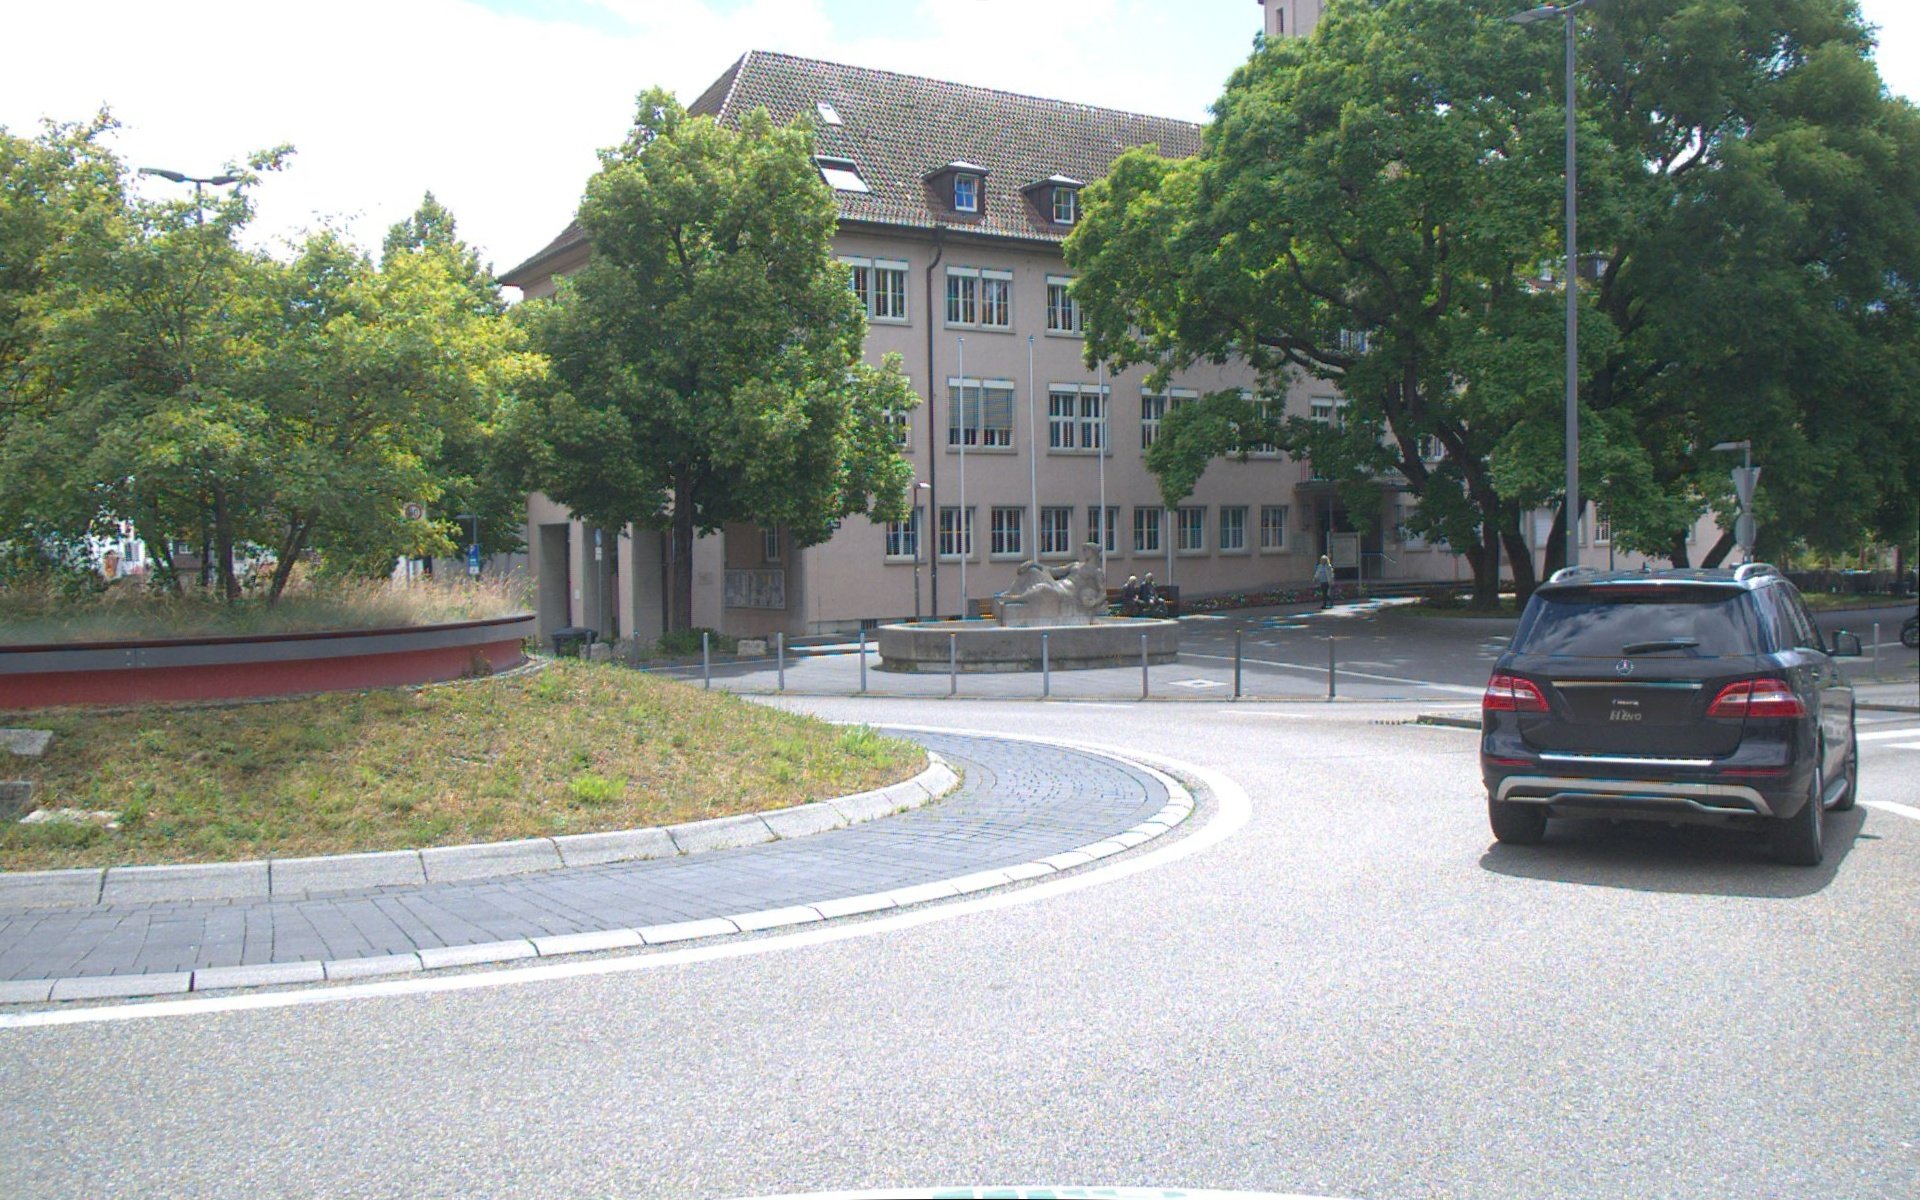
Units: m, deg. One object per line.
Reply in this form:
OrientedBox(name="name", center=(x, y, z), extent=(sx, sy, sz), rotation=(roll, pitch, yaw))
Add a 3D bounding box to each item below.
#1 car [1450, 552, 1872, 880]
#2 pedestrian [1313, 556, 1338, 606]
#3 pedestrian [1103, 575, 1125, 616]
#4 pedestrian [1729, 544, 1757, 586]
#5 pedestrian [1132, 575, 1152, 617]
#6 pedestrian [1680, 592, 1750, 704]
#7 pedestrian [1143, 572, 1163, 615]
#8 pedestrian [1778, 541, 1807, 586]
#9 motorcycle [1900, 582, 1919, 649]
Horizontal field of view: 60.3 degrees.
OrientedBox(name="car", center=(4.960, 0.613, 11.299), extent=(1.990, 1.757, 4.422), rotation=(-1, 0, 32))
OrientedBox(name="pedestrian", center=(11.128, -0.568, 50.331), extent=(0.683, 1.519, 0.815), rotation=(0, 0, 16))
OrientedBox(name="pedestrian", center=(4.484, -0.138, 48.181), extent=(0.477, 1.183, 0.580), rotation=(0, 0, 26))
OrientedBox(name="pedestrian", center=(30.629, -1.372, 64.693), extent=(0.777, 1.604, 0.630), rotation=(-1, 0, -29))
OrientedBox(name="pedestrian", center=(5.247, -0.127, 47.724), extent=(0.476, 1.203, 0.581), rotation=(0, 0, 18))
OrientedBox(name="pedestrian", center=(10.815, 0.673, 23.709), extent=(0.541, 1.540, 0.785), rotation=(-2, 3, -16))
OrientedBox(name="pedestrian", center=(5.639, -0.192, 48.316), extent=(0.476, 1.243, 0.581), rotation=(0, 0, 18))
OrientedBox(name="pedestrian", center=(31.634, -1.384, 62.858), extent=(0.628, 1.656, 0.780), rotation=(-1, 0, -30))
OrientedBox(name="motorcycle", center=(19.943, 0.337, 32.984), extent=(0.574, 1.311, 2.121), rotation=(-3, 3, -27))
